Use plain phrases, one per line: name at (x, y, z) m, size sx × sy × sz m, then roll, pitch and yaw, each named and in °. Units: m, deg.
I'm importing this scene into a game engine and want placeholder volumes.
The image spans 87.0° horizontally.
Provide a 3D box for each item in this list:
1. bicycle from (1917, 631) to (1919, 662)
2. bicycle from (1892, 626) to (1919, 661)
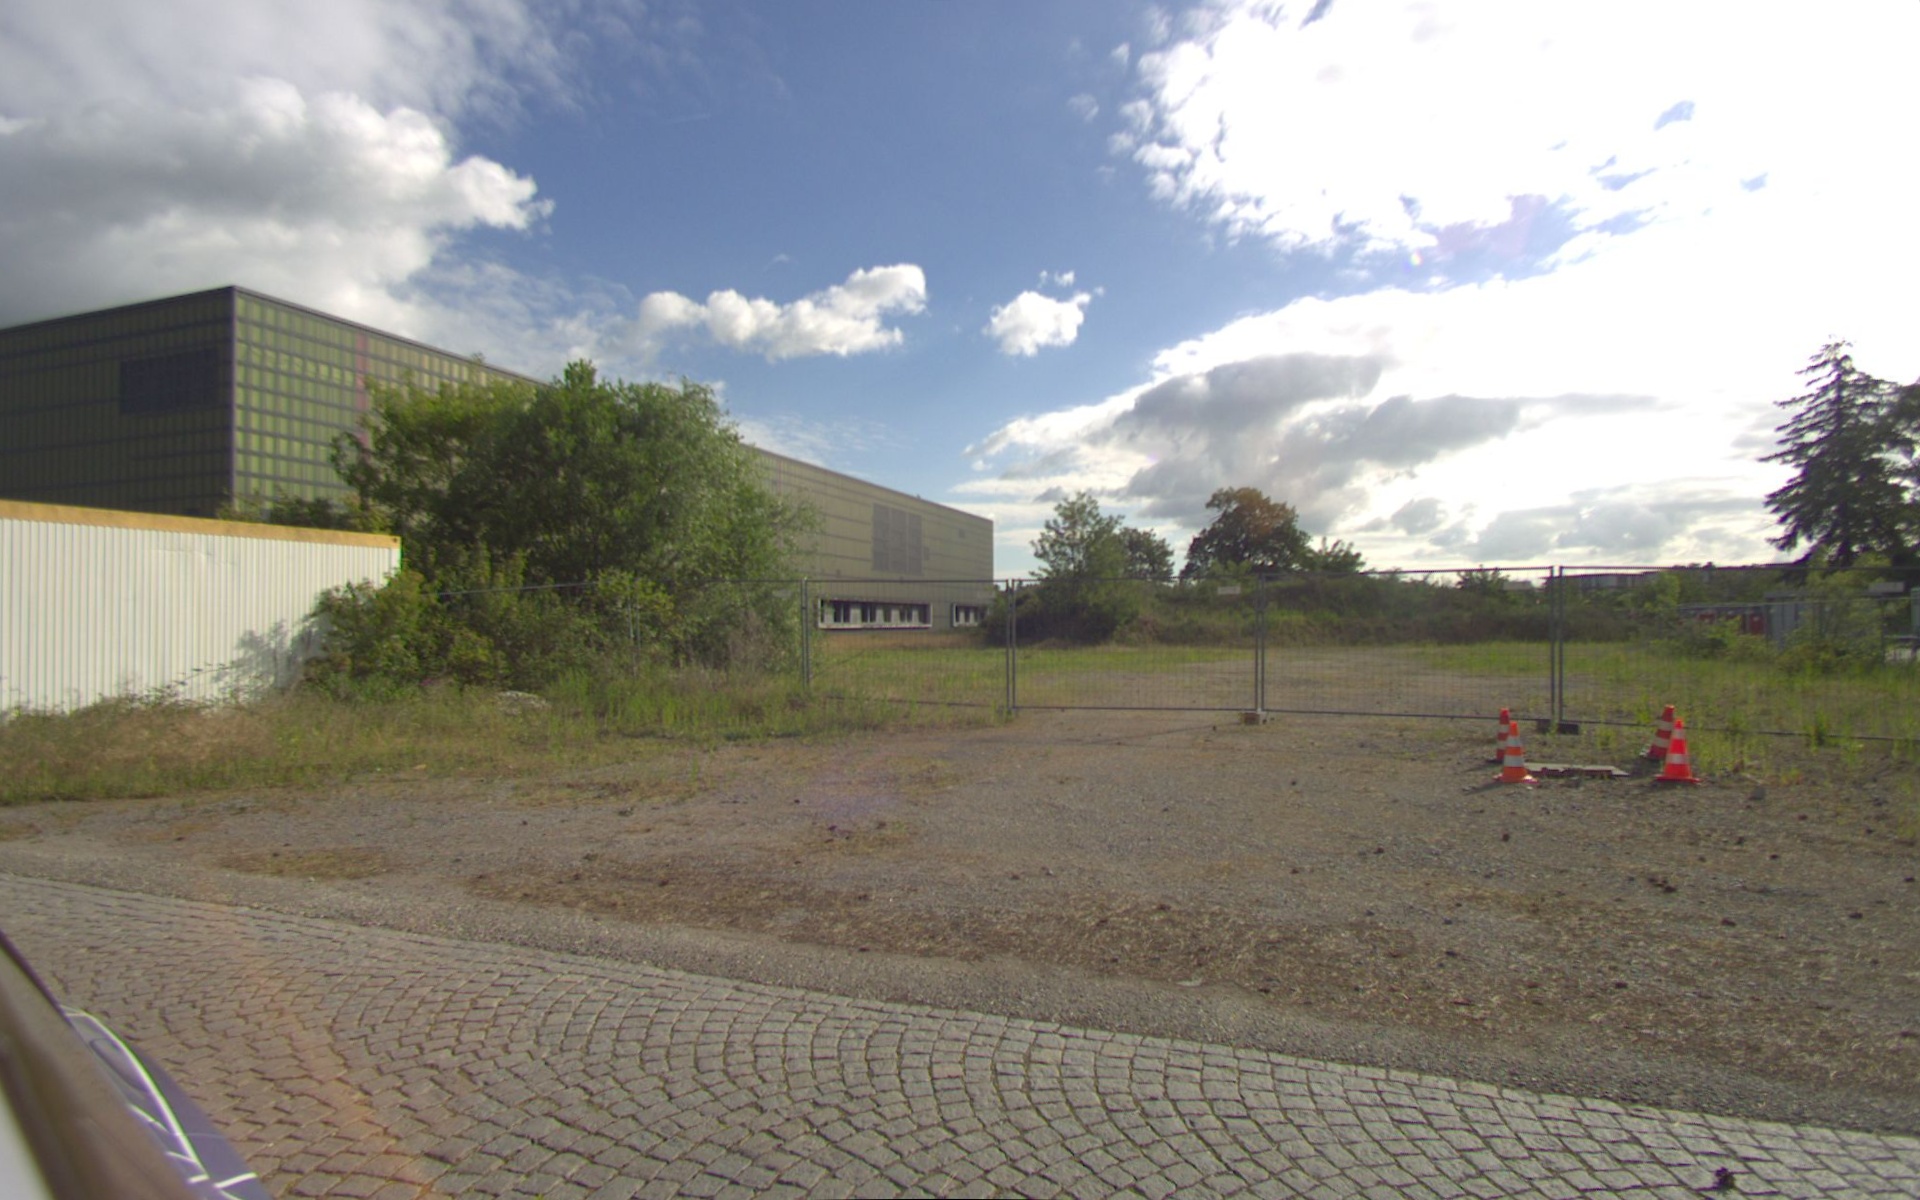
bicycle at (29.477, 1.350, 29.495) m, size 2.053 × 0.928 × 0.940 m, roll -1°, pitch -2°, yaw 19°
bicycle at (29.659, 1.308, 30.497) m, size 2.053 × 1.052 × 0.940 m, roll -1°, pitch -2°, yaw 19°
